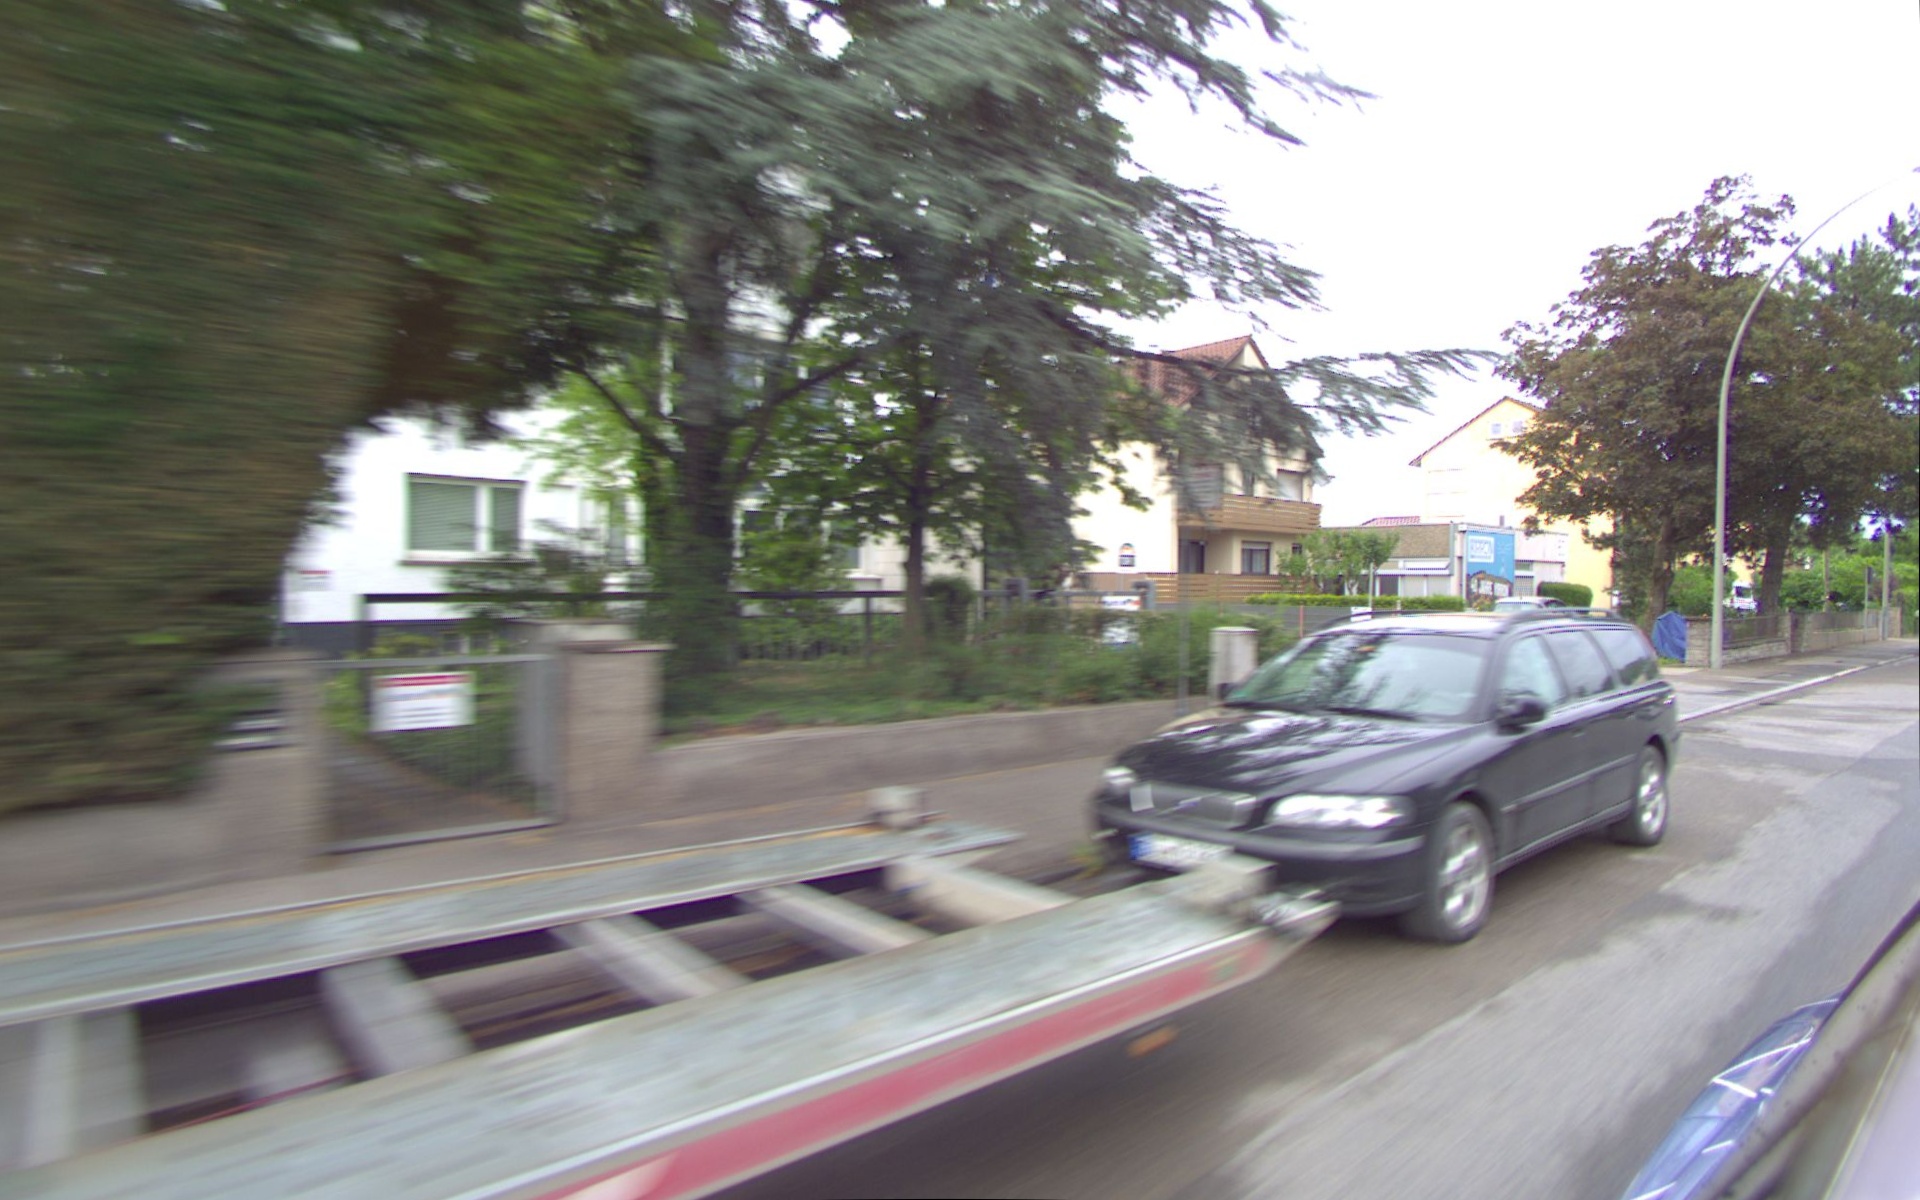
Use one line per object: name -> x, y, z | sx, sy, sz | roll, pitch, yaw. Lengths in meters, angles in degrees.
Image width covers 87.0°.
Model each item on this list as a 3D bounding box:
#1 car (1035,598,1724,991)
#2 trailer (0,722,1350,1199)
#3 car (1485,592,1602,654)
car -> 2.717, 0.762, 5.966 | 4.564, 1.451, 1.743 | -1, -2, -39
trailer -> -1.928, 1.026, 1.914 | 6.519, 0.909, 2.177 | 0, -1, -41
car -> 15.620, 0.551, 27.006 | 1.744, 1.507, 4.052 | 1, 1, 44
